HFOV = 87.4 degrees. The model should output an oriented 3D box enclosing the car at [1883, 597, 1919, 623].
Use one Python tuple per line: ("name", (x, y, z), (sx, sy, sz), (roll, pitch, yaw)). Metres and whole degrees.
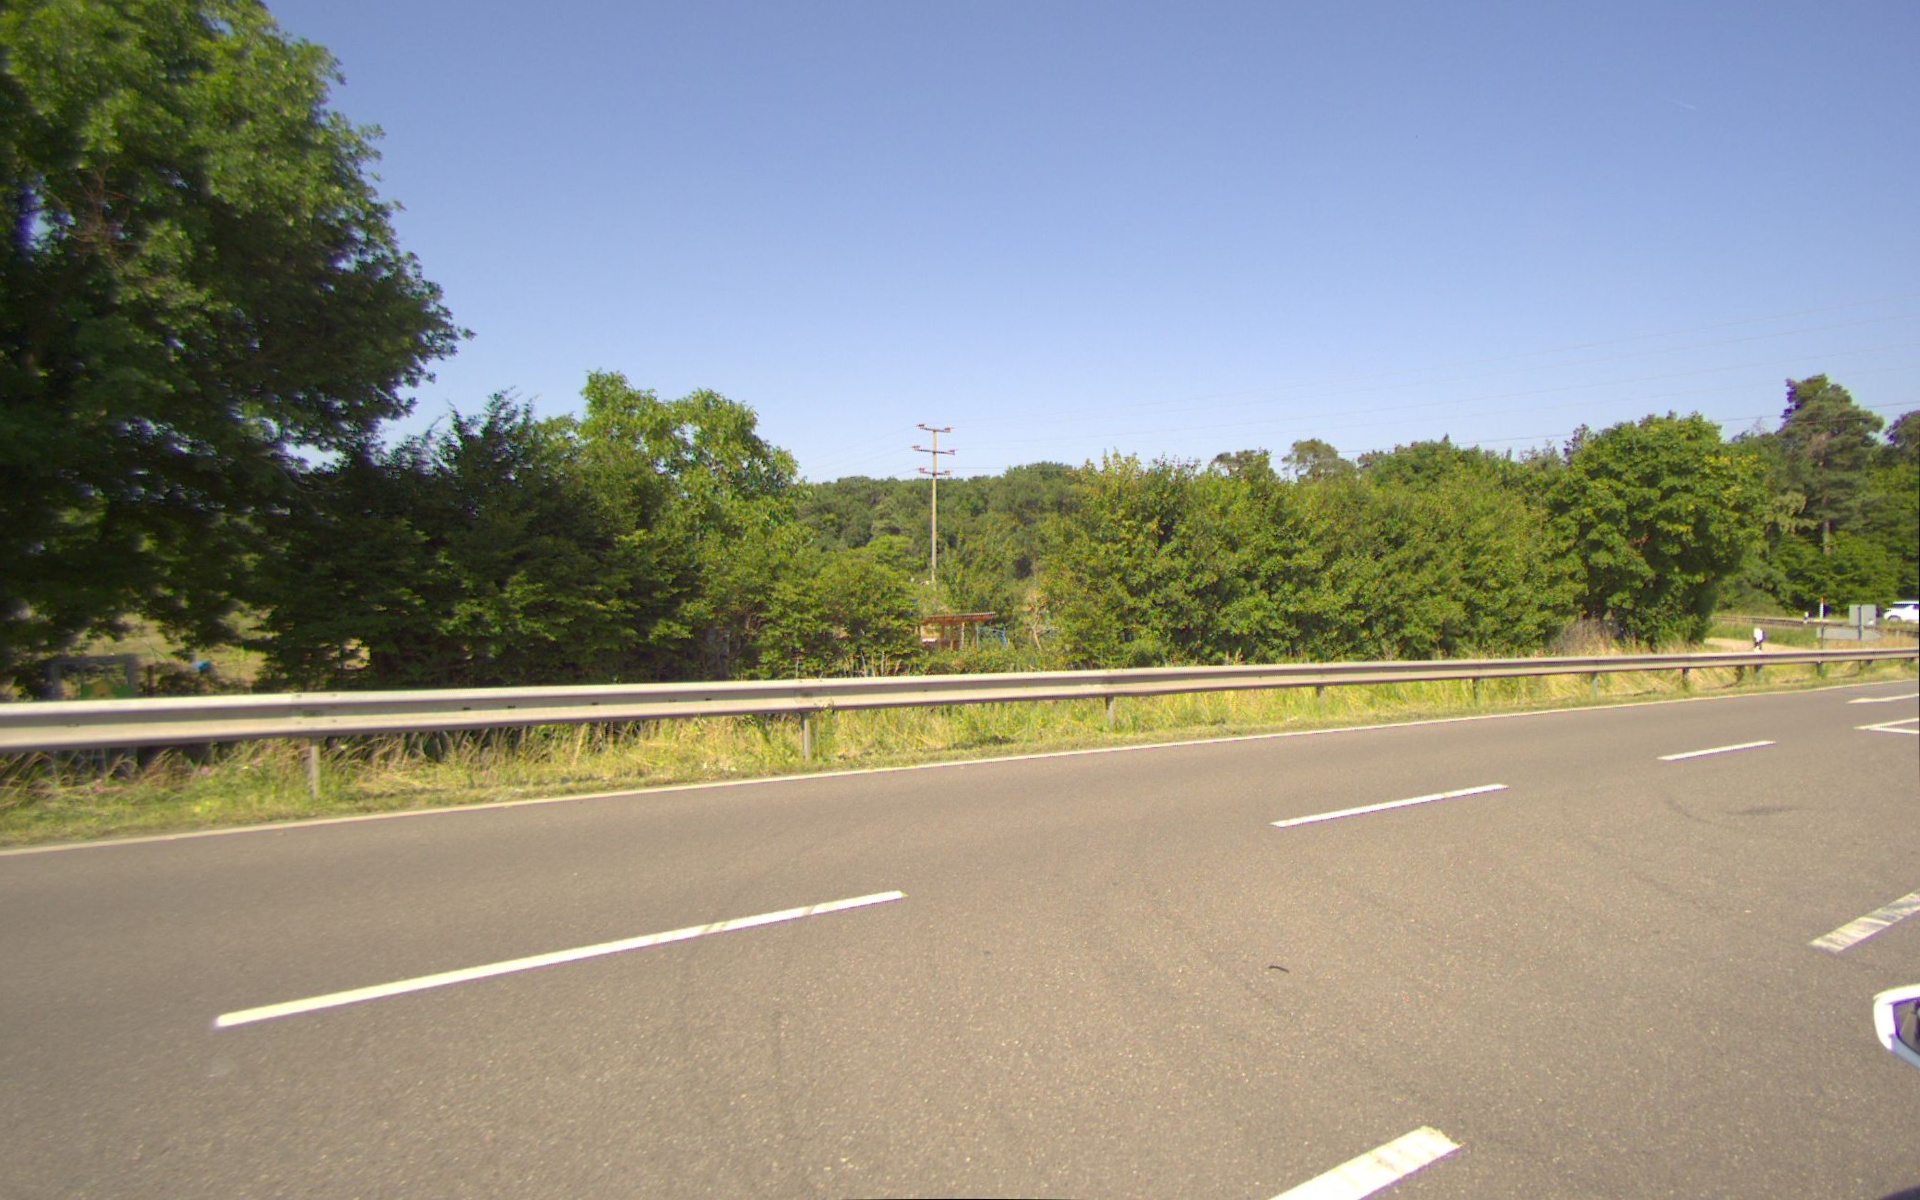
("car", (57.524, 0.640, 59.606), (1.874, 1.506, 3.802), (1, 0, -39))
